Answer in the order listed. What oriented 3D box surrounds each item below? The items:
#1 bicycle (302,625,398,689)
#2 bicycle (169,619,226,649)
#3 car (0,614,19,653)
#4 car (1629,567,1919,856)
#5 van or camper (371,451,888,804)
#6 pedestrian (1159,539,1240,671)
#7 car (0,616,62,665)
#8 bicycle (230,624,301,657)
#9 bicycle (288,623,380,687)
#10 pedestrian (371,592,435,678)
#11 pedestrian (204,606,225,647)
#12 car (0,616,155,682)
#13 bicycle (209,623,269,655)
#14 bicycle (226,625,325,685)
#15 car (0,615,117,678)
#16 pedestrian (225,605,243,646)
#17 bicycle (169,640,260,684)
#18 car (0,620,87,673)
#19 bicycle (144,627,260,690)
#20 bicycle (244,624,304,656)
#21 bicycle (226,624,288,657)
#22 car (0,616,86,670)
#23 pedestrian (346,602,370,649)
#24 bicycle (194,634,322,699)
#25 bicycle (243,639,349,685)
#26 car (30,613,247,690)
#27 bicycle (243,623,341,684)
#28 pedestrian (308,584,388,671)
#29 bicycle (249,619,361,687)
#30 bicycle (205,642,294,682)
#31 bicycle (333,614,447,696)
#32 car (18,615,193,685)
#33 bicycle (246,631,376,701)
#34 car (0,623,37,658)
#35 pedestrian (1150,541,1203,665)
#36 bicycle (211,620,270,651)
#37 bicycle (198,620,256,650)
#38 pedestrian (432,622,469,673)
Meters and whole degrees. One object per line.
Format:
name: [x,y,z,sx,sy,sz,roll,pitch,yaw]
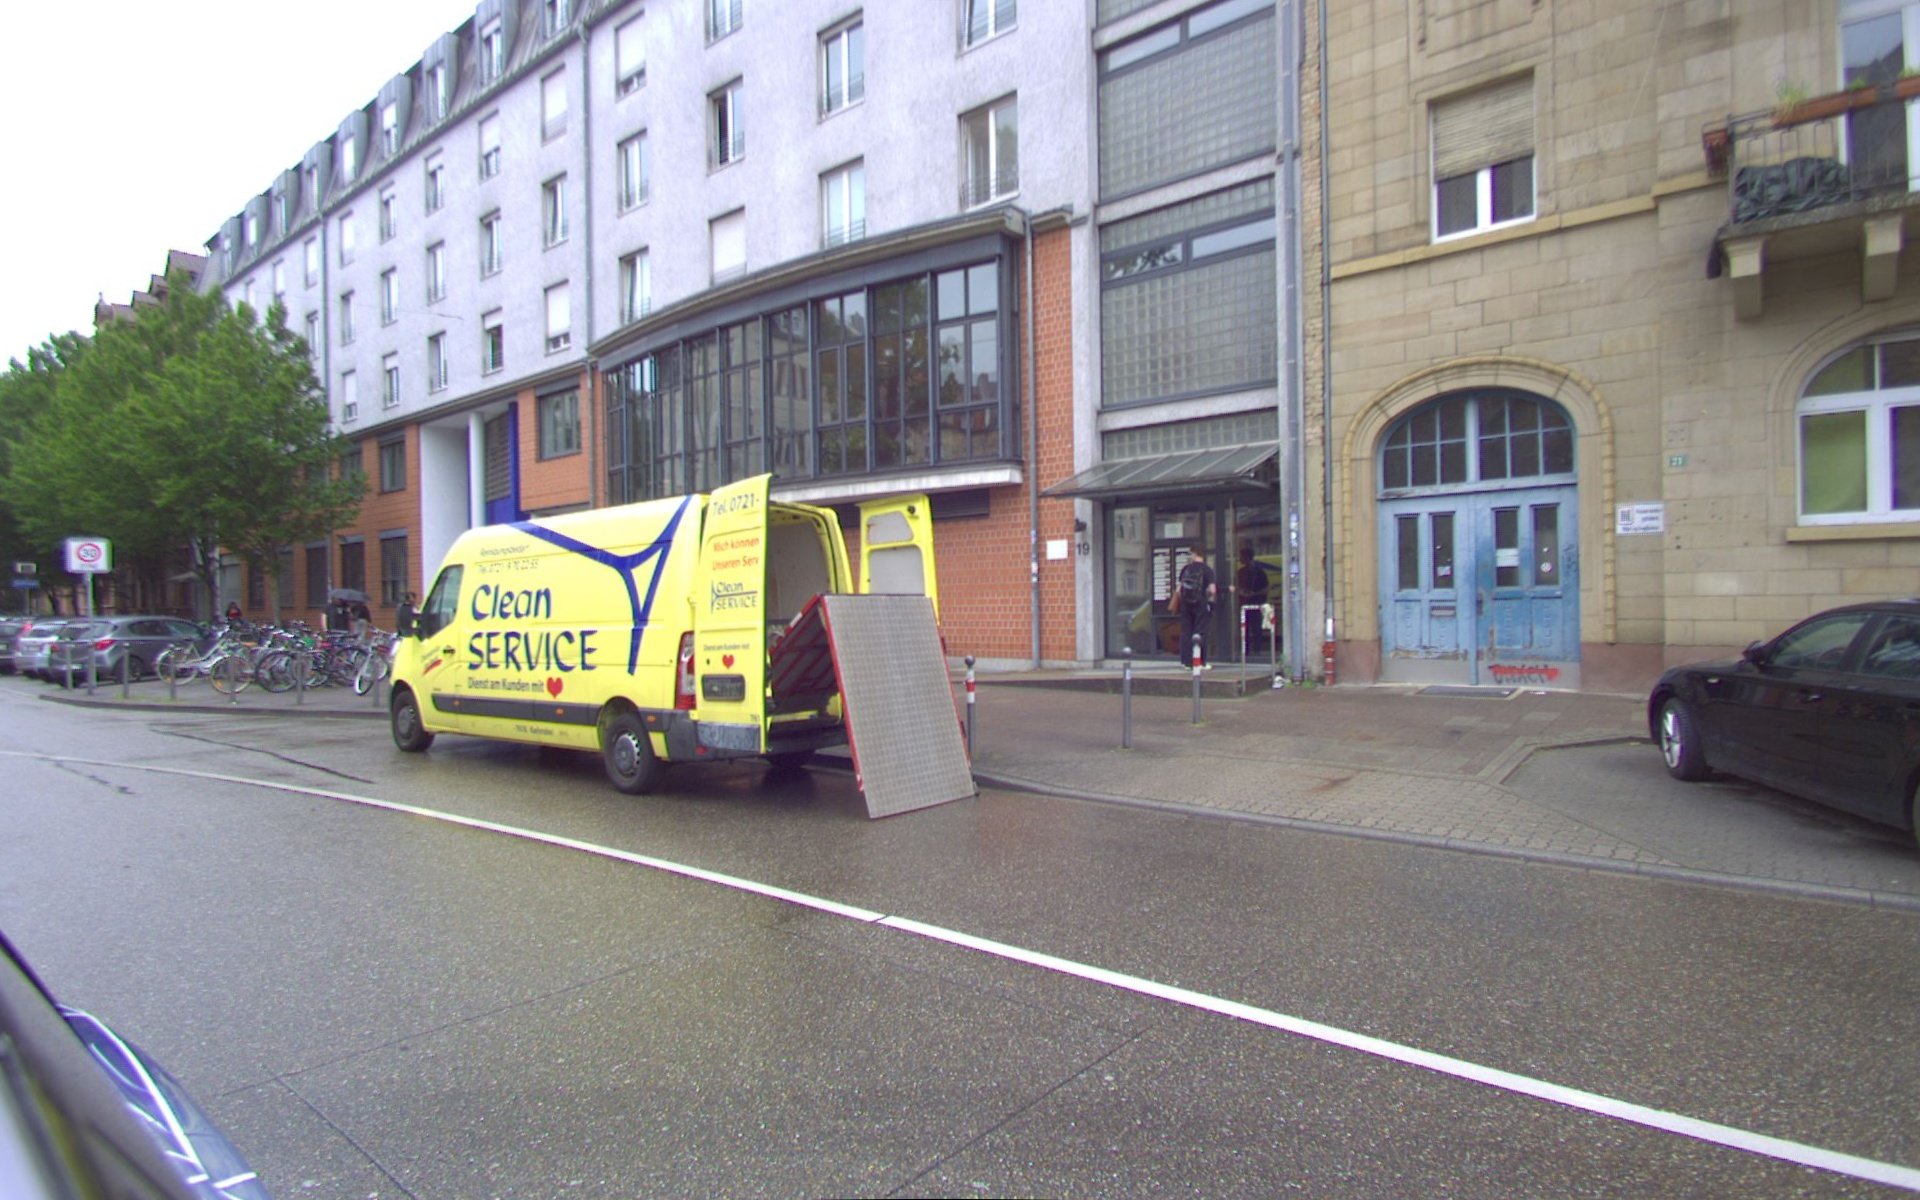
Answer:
bicycle: [-11.309,1.041,18.799,0.418,1.072,1.442,-1,1,44]
bicycle: [-27.108,1.198,35.985,0.464,0.992,1.573,-1,-1,32]
car: [-47.377,1.616,47.937,1.666,1.910,4.330,0,-1,-1]
car: [6.031,0.584,6.028,1.777,1.523,4.034,-1,-1,7]
van or camper: [-3.626,0.264,10.280,5.936,2.631,2.174,-1,-2,40]
pedestrian: [3.307,0.073,13.944,0.785,1.741,0.997,-1,-1,32]
car: [-31.644,1.352,33.535,1.138,1.567,2.672,-2,0,11]
bicycle: [-21.978,1.273,32.065,0.444,0.992,1.830,-1,-1,32]
bicycle: [-11.913,1.033,19.282,1.439,1.111,0.462,-2,1,-36]
pedestrian: [-11.731,0.722,21.315,0.859,1.719,0.817,-2,3,41]
pedestrian: [-29.620,1.038,40.217,0.372,1.622,0.598,-1,-1,39]
car: [-22.863,1.227,26.302,1.432,1.514,3.078,-2,0,0]
bicycle: [-23.871,1.285,33.523,0.444,0.992,1.573,-1,-1,32]
bicycle: [-14.127,1.121,20.929,0.519,1.114,1.591,-1,1,36]
car: [-25.275,1.243,27.915,1.432,1.564,3.078,-2,0,0]
pedestrian: [-29.062,1.001,40.509,0.425,1.622,0.508,-1,-1,41]
bicycle: [-15.757,1.296,21.414,0.497,0.811,1.454,-1,1,43]
car: [-27.757,1.364,30.237,1.177,1.461,2.502,-2,0,0]
bicycle: [-15.209,1.143,20.353,0.472,1.114,1.791,-1,1,36]
bicycle: [-22.432,1.284,33.104,0.444,0.992,1.573,-1,-1,32]
bicycle: [-22.417,1.275,32.277,0.444,0.992,1.573,-1,-1,32]
car: [-29.539,1.356,31.755,1.358,1.567,2.971,-2,0,11]
pedestrian: [-19.830,0.829,33.325,0.547,1.541,0.509,-1,-2,37]
bicycle: [-12.433,1.156,17.978,0.519,1.000,1.778,-1,1,38]
bicycle: [-13.133,1.211,20.078,0.455,0.767,1.757,-1,1,27]
car: [-18.420,1.107,22.915,1.720,1.514,3.614,-1,0,9]
bicycle: [-13.568,1.059,20.586,0.517,1.114,1.596,-1,1,27]
pedestrian: [-14.365,0.621,23.770,1.055,1.894,1.213,-1,3,40]
bicycle: [-12.701,1.003,19.682,0.517,1.203,1.798,-1,1,27]
bicycle: [-14.981,1.291,21.363,0.497,0.727,1.454,-1,1,43]
bicycle: [-9.859,0.925,17.599,0.760,1.225,1.917,-1,3,5]
car: [-20.769,1.176,24.742,1.436,1.514,3.070,-2,0,9]
bicycle: [-11.452,1.132,17.892,1.832,1.081,0.610,-2,1,-44]
car: [-42.052,1.751,43.563,1.662,1.502,3.798,0,-1,-10]
pedestrian: [3.141,0.049,14.726,0.467,1.761,0.608,0,-1,-24]
bicycle: [-24.207,1.176,34.092,0.444,0.992,1.573,-1,-1,32]
bicycle: [-25.162,1.183,34.765,0.464,0.992,1.573,-1,-1,32]
pedestrian: [-11.132,1.025,22.111,0.527,1.058,0.479,-2,3,39]
